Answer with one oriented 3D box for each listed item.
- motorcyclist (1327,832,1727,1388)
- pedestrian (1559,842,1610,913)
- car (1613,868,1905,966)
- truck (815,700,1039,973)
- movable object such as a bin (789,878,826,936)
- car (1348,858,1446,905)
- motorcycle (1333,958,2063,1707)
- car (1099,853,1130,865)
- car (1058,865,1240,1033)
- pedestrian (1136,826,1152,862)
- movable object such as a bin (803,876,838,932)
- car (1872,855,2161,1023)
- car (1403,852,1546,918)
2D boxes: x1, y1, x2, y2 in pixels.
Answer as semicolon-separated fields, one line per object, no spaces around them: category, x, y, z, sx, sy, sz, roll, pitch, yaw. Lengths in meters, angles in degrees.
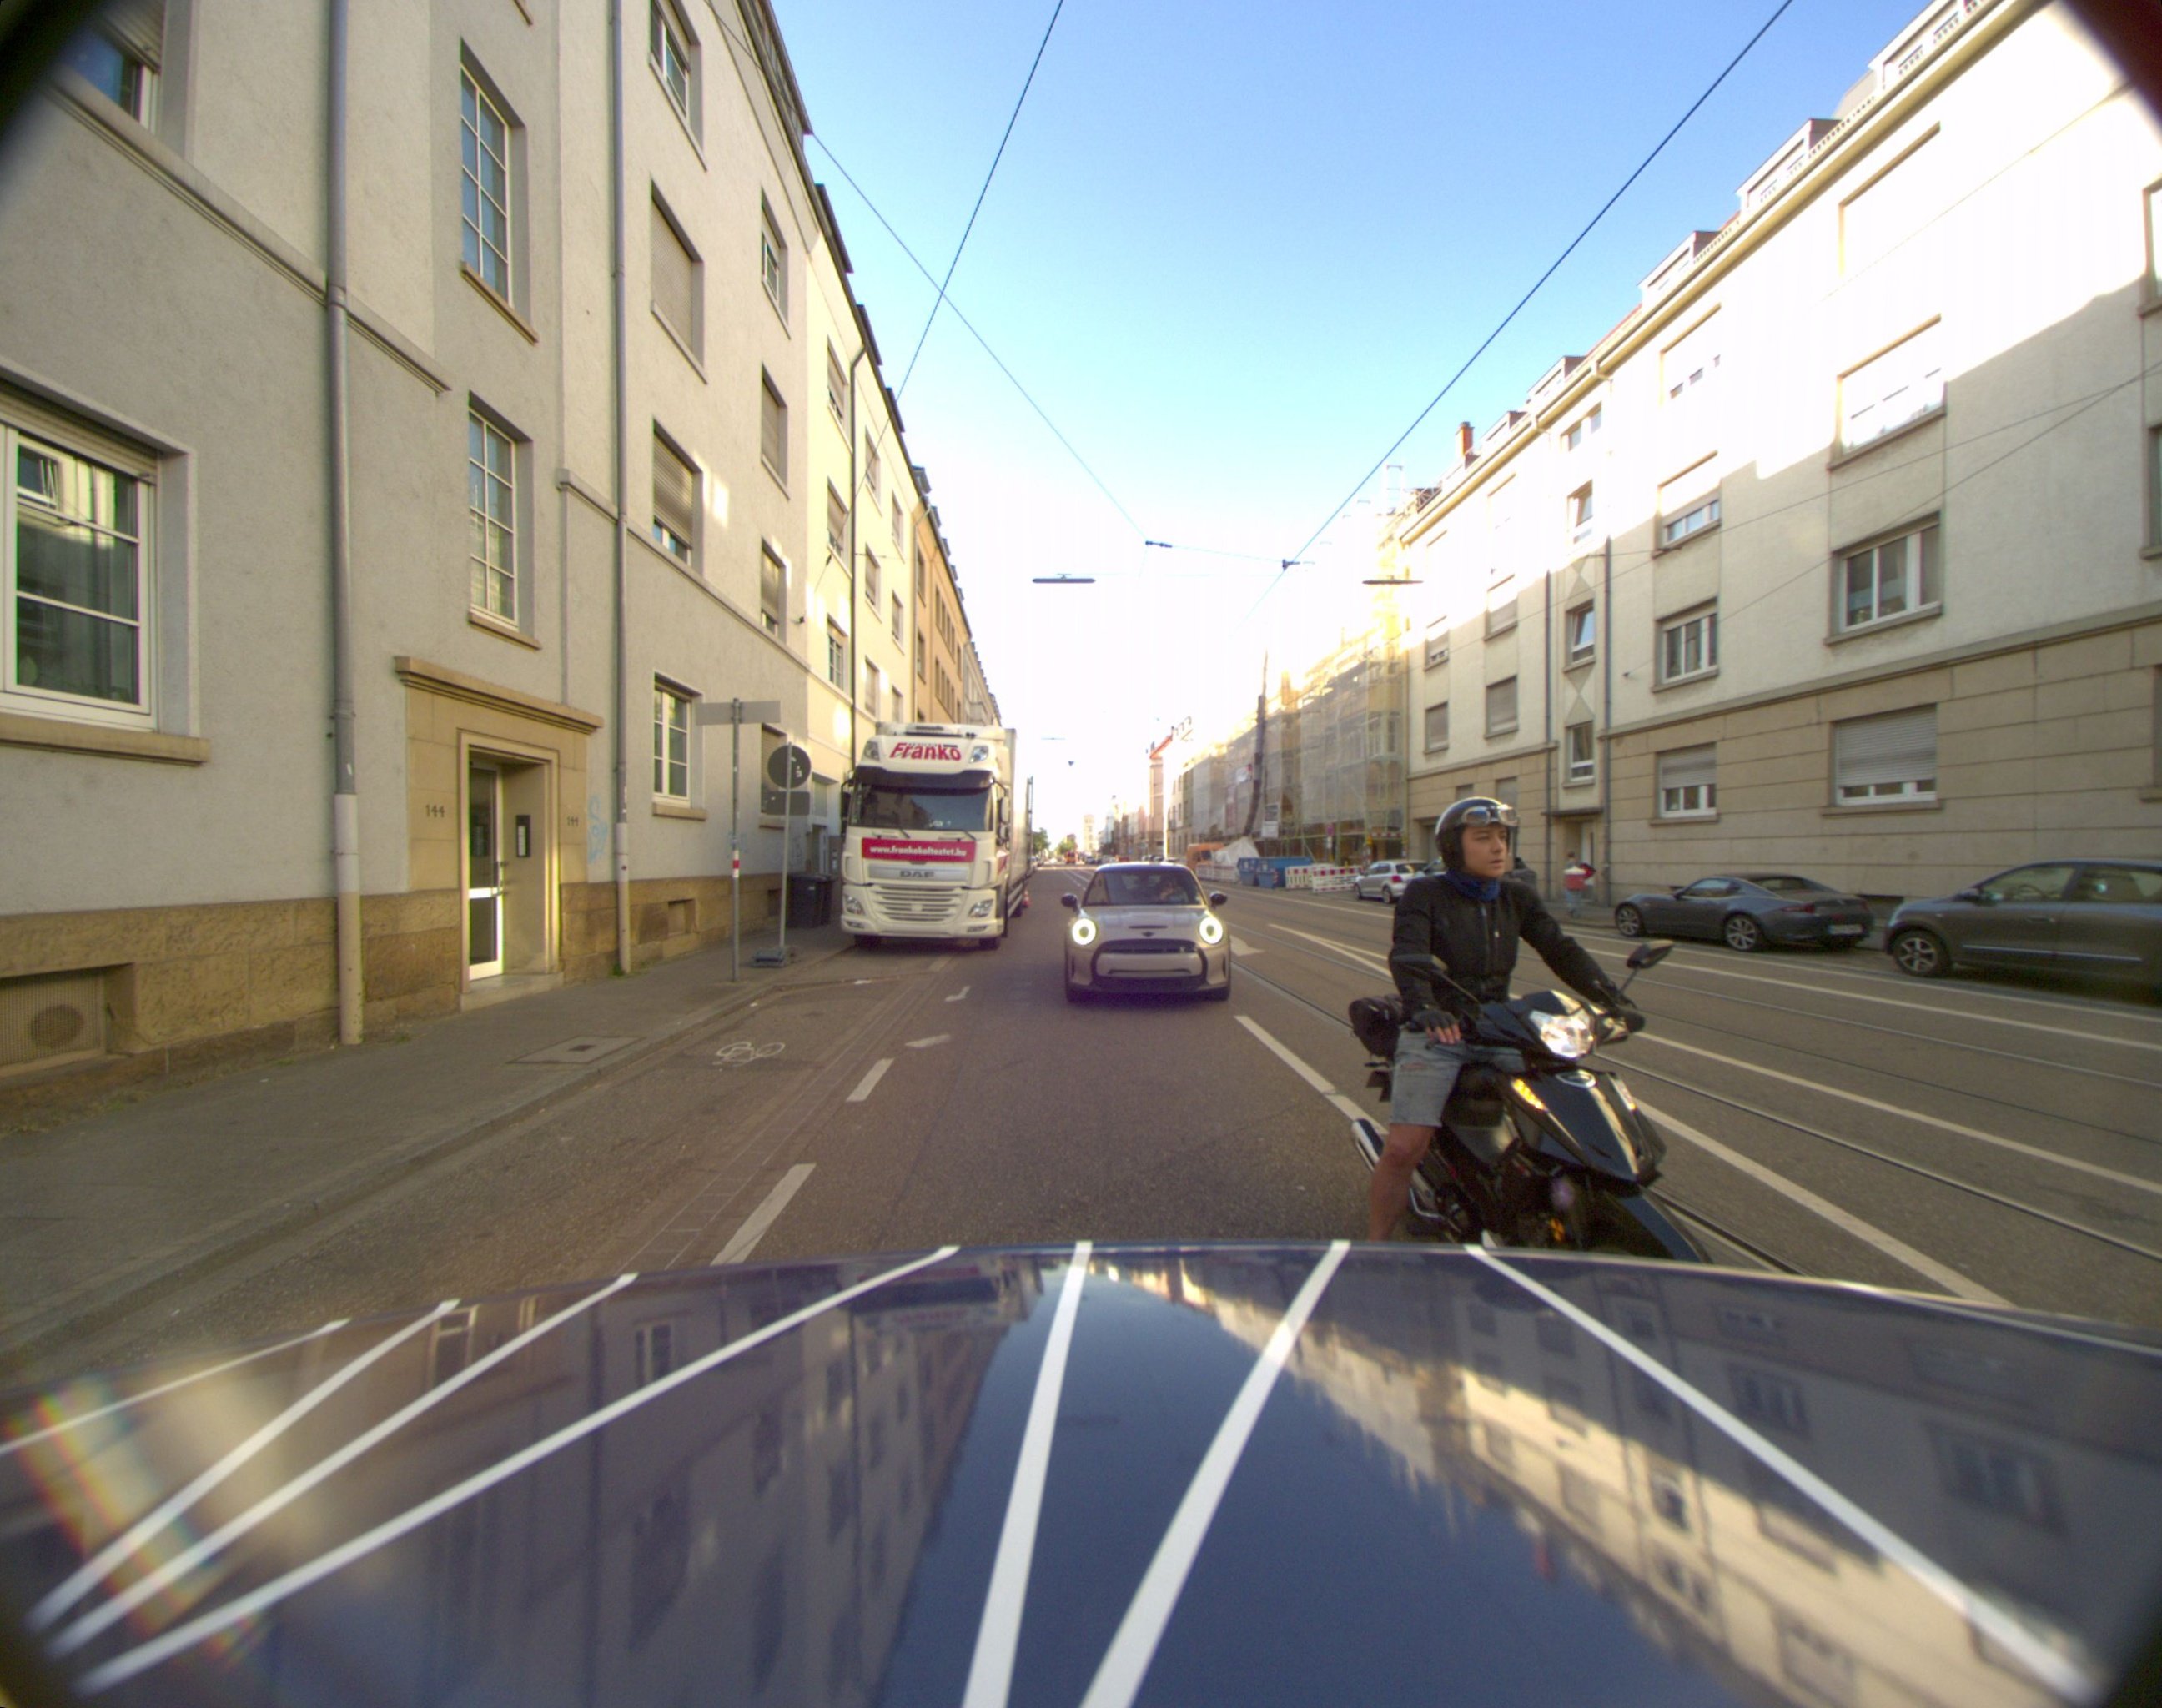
motorcyclist;1.317;0.702;2.370;0.862;1.496;0.598;-2;1;1
pedestrian;12.903;0.595;19.485;0.751;1.753;0.776;-2;1;1
car;11.237;0.962;12.953;1.751;1.269;3.488;-2;1;-4
truck;-2.604;-0.251;17.139;2.899;3.939;11.704;-2;0;-2
movable object such as a bin;-5.397;1.030;15.012;0.512;1.085;0.495;-2;1;-4
car;10.631;0.869;25.818;1.637;1.383;3.643;-2;1;-3
motorcycle;1.344;1.067;2.234;0.538;1.212;1.981;-2;1;1
car;4.581;0.650;104.384;3.998;1.468;2.149;-2;1;-2
car;0.628;0.912;9.050;1.692;1.495;4.000;0;0;0
pedestrian;7.779;-1.291;94.360;1.723;4.377;1.153;-2;1;2
movable object such as a bin;-5.360;1.026;15.660;0.512;1.085;0.495;-2;1;-4
car;11.408;0.838;8.376;1.670;1.563;3.496;-2;1;-2
car;10.838;0.783;21.296;1.712;1.582;4.112;-2;1;-3
